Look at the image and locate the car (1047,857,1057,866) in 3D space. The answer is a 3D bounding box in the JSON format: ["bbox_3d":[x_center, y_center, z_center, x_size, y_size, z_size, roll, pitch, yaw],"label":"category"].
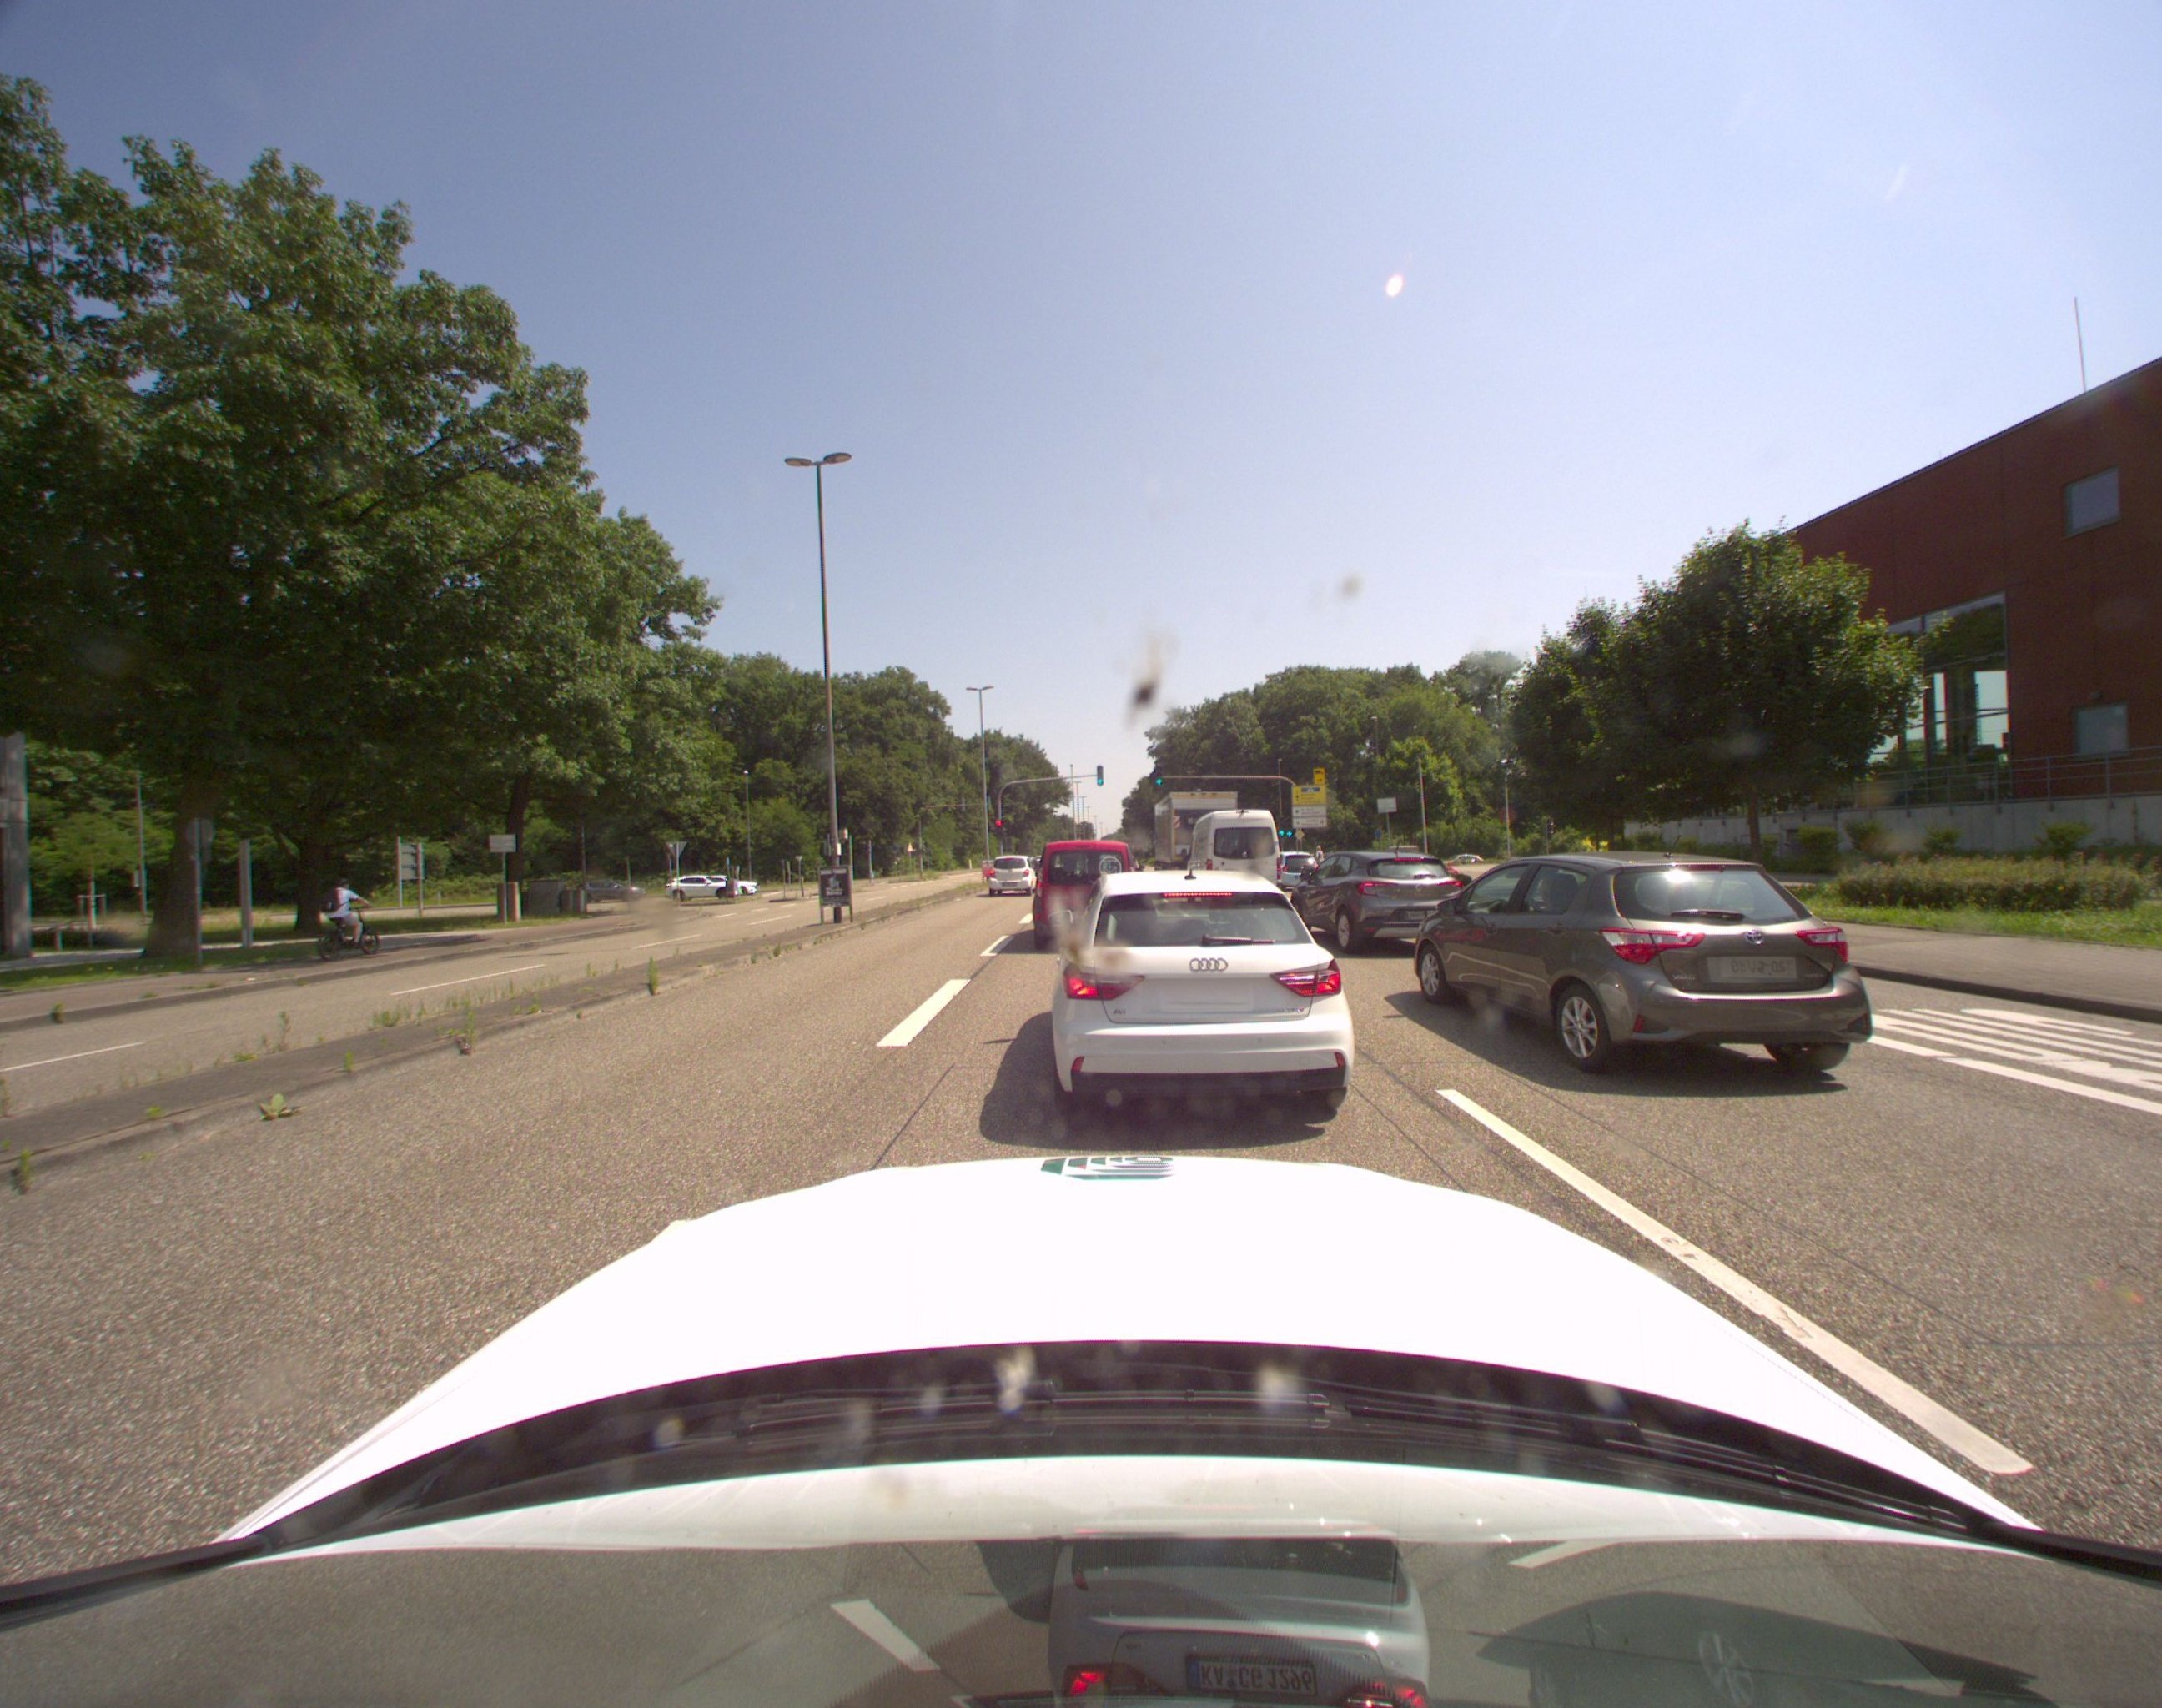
[{"bbox_3d":[-5.965,1.523,169.756,1.824,1.728,4.001,-2,0,1],"label":"car"}]

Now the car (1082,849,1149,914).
[{"bbox_3d":[0.900,0.716,23.163,1.706,1.631,4.091,-1,0,0],"label":"car"}]

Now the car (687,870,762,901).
[{"bbox_3d":[-24.940,2.205,57.090,4.367,1.681,1.806,-6,0,-7],"label":"car"}]

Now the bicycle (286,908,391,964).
[{"bbox_3d":[-15.539,1.694,17.103,0.615,0.969,1.661,-2,0,2],"label":"bicycle"}]

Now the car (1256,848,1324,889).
[{"bbox_3d":[8.406,0.549,33.058,1.706,1.546,4.091,-1,0,0],"label":"car"}]

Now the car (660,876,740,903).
[{"bbox_3d":[-24.853,2.296,53.265,4.366,1.681,1.806,0,-1,-7],"label":"car"}]

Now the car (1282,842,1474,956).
[{"bbox_3d":[4.717,0.640,13.603,1.706,1.593,4.091,-1,0,0],"label":"car"}]

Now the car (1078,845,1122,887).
[{"bbox_3d":[0.753,0.464,33.901,1.706,1.631,4.091,-1,0,0],"label":"car"}]

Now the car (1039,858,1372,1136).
[{"bbox_3d":[0.655,0.752,6.277,1.706,1.386,4.091,-1,0,0],"label":"car"}]

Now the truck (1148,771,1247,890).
[{"bbox_3d":[4.852,-0.888,36.505,3.077,4.434,11.584,-1,0,2],"label":"truck"}]

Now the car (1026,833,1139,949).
[{"bbox_3d":[0.028,0.568,14.600,1.706,1.748,4.091,-1,0,0],"label":"car"}]

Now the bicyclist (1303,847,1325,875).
[{"bbox_3d":[12.146,0.353,42.476,0.602,1.439,0.819,-2,0,-41],"label":"bicyclist"}]

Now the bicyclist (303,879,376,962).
[{"bbox_3d":[-15.553,1.371,17.100,0.605,1.630,0.924,-2,0,1],"label":"bicyclist"}]

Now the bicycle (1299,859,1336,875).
[{"bbox_3d":[12.286,0.698,42.337,0.604,0.766,1.805,-2,0,-41],"label":"bicycle"}]

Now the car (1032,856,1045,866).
[{"bbox_3d":[-7.664,1.243,147.482,1.987,1.772,4.205,-2,0,1],"label":"car"}]

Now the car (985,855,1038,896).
[{"bbox_3d":[-2.661,0.790,32.158,1.706,1.493,4.091,-1,0,0],"label":"car"}]

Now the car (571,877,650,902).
[{"bbox_3d":[-32.564,2.449,56.452,4.370,1.681,1.804,0,-1,-10],"label":"car"}]

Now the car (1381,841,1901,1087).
[{"bbox_3d":[4.225,0.683,7.082,1.706,1.478,4.091,1,0,0],"label":"car"}]

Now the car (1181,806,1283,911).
[{"bbox_3d":[4.138,0.119,23.171,2.024,2.644,4.845,-1,0,1],"label":"car"}]

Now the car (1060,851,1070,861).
[{"bbox_3d":[-3.133,0.403,163.351,1.866,1.861,4.000,-2,0,1],"label":"car"}]
